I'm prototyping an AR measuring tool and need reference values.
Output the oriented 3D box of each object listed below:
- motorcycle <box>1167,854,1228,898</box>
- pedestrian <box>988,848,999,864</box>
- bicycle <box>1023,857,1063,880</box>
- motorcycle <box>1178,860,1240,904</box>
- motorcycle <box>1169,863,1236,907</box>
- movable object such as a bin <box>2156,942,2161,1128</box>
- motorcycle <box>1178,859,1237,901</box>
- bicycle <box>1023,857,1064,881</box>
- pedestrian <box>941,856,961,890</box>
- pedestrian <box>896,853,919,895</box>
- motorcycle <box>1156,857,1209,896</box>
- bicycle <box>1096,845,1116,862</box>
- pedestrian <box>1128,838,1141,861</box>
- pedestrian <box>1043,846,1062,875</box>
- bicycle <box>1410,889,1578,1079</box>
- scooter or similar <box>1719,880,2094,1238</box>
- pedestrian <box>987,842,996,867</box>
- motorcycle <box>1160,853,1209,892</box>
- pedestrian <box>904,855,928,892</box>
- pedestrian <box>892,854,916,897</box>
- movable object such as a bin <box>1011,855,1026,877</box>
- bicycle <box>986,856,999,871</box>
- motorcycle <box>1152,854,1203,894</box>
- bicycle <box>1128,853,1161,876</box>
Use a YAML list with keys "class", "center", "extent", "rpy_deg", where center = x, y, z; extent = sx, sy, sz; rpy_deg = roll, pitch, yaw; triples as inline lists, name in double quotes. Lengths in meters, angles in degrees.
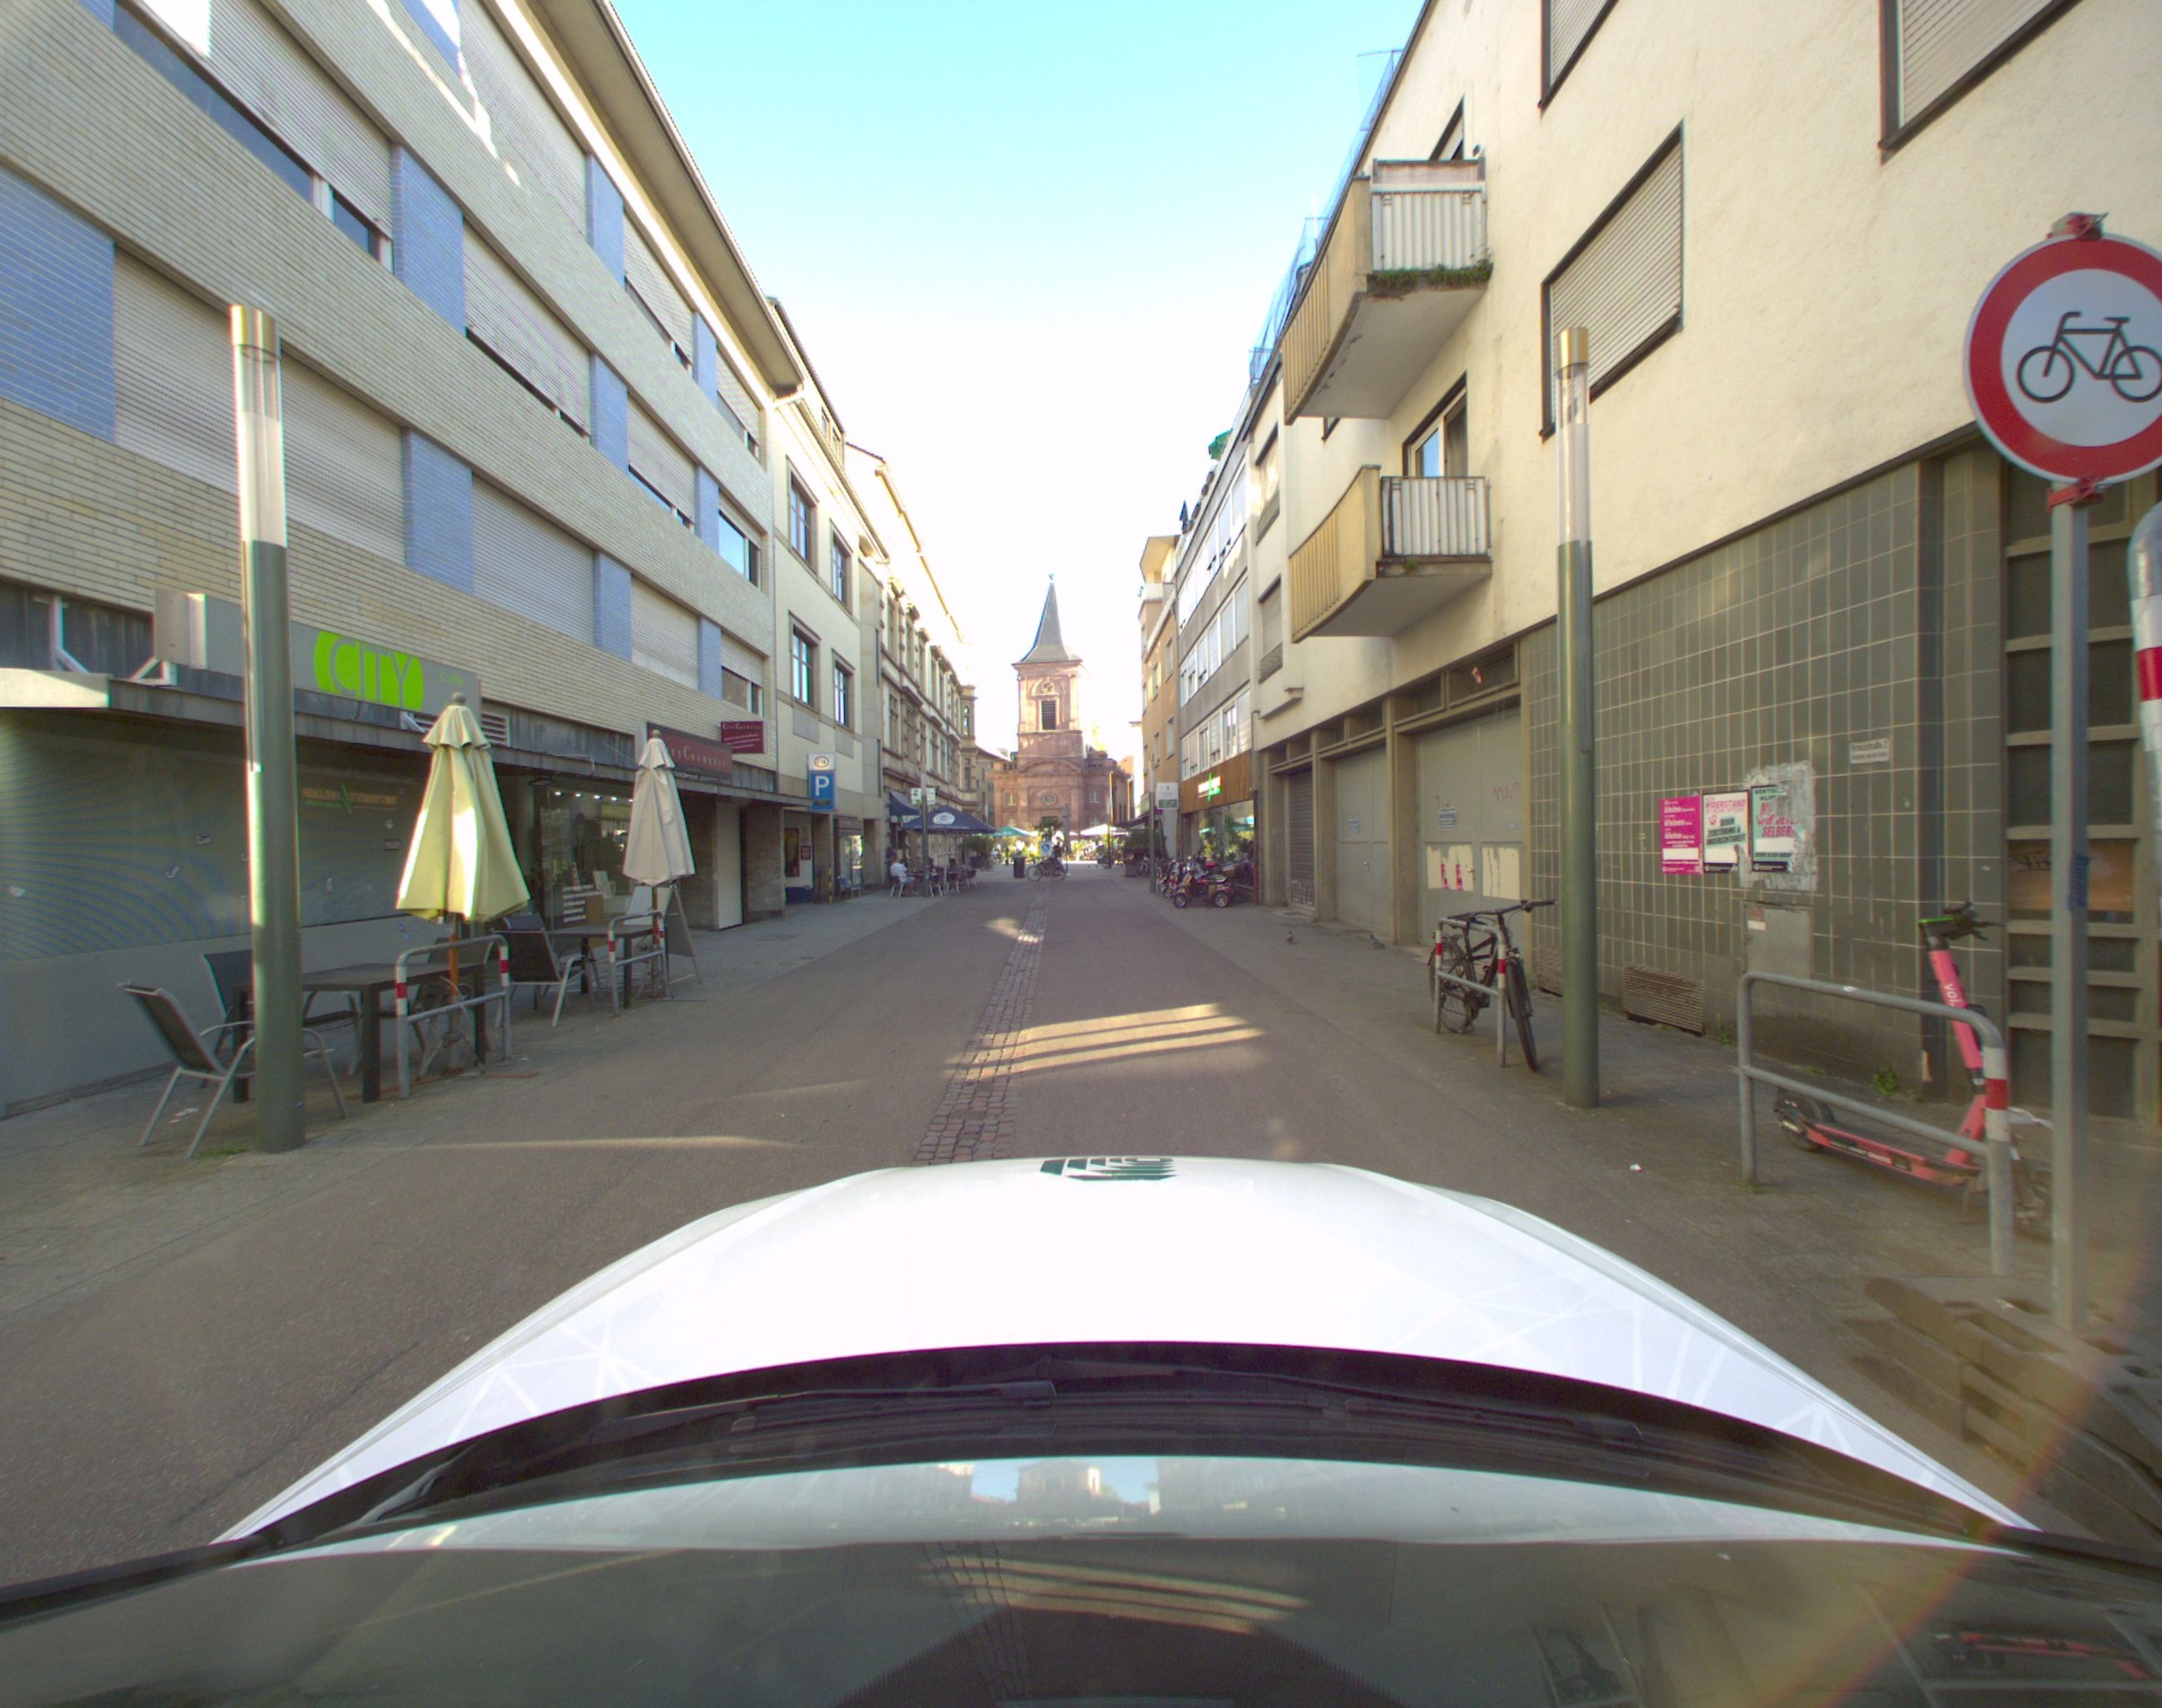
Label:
- class: "motorcycle"
  center: [3.286, 0.615, 22.979]
  extent: [1.612, 1.175, 0.482]
  rpy_deg: [-2, 0, 16]
- class: "pedestrian"
  center: [-6.775, 0.159, 63.048]
  extent: [0.697, 1.218, 0.720]
  rpy_deg: [-1, 0, 4]
- class: "bicycle"
  center: [-1.734, 0.649, 37.221]
  extent: [1.821, 1.005, 0.380]
  rpy_deg: [-1, 0, -6]
- class: "motorcycle"
  center: [3.266, 0.705, 20.772]
  extent: [1.505, 1.075, 0.414]
  rpy_deg: [-2, 0, 16]
- class: "motorcycle"
  center: [2.989, 0.765, 19.997]
  extent: [1.552, 1.041, 0.374]
  rpy_deg: [-2, 0, 16]
- class: "movable object such as a bin"
  center: [5.399, 0.901, 3.685]
  extent: [0.534, 0.923, 0.516]
  rpy_deg: [-1, 0, 41]
- class: "motorcycle"
  center: [3.371, 0.688, 21.732]
  extent: [1.472, 1.075, 0.414]
  rpy_deg: [-2, 0, 16]
- class: "bicycle"
  center: [-1.705, 0.679, 36.831]
  extent: [1.821, 1.005, 0.380]
  rpy_deg: [-1, 0, -6]
- class: "pedestrian"
  center: [-4.728, 0.693, 29.688]
  extent: [0.692, 1.215, 0.581]
  rpy_deg: [-1, 0, -10]
- class: "pedestrian"
  center: [-5.807, 0.664, 27.210]
  extent: [0.718, 1.368, 0.707]
  rpy_deg: [-1, 0, -14]
- class: "motorcycle"
  center: [2.953, 0.661, 23.717]
  extent: [1.472, 1.075, 0.414]
  rpy_deg: [-2, 0, 16]
- class: "bicycle"
  center: [1.908, -0.053, 62.732]
  extent: [1.596, 1.308, 0.362]
  rpy_deg: [-1, 1, -31]
- class: "pedestrian"
  center: [3.804, -0.301, 57.968]
  extent: [0.649, 1.641, 0.617]
  rpy_deg: [-1, 0, 38]
- class: "pedestrian"
  center: [-1.442, 0.316, 41.316]
  extent: [0.881, 1.464, 0.730]
  rpy_deg: [-1, 0, -2]
- class: "bicycle"
  center: [2.945, 0.856, 5.989]
  extent: [0.444, 1.140, 1.711]
  rpy_deg: [-1, -1, 3]
- class: "scooter or similar"
  center: [3.503, 0.765, 3.593]
  extent: [0.306, 1.252, 1.237]
  rpy_deg: [-1, 0, -5]
- class: "pedestrian"
  center: [-6.592, 0.041, 60.230]
  extent: [0.614, 1.808, 0.614]
  rpy_deg: [-1, 0, -6]
- class: "motorcycle"
  center: [3.276, 0.578, 25.696]
  extent: [1.473, 1.181, 0.414]
  rpy_deg: [-2, 0, 13]
- class: "pedestrian"
  center: [-5.848, 0.683, 28.931]
  extent: [0.765, 1.233, 0.828]
  rpy_deg: [-1, 1, -10]
- class: "pedestrian"
  center: [-5.730, 0.680, 26.296]
  extent: [0.709, 1.368, 0.716]
  rpy_deg: [-1, 0, -14]
- class: "movable object such as a bin"
  center: [-3.066, 0.590, 39.995]
  extent: [0.720, 1.074, 0.374]
  rpy_deg: [-1, 0, -4]
- class: "bicycle"
  center: [-5.311, 0.577, 48.965]
  extent: [0.455, 0.850, 2.147]
  rpy_deg: [-1, 1, 2]
- class: "motorcycle"
  center: [2.921, 0.604, 24.611]
  extent: [1.473, 1.181, 0.414]
  rpy_deg: [-2, 0, 13]
- class: "bicycle"
  center: [2.857, 0.460, 36.505]
  extent: [1.456, 1.005, 0.574]
  rpy_deg: [-1, 0, 5]
